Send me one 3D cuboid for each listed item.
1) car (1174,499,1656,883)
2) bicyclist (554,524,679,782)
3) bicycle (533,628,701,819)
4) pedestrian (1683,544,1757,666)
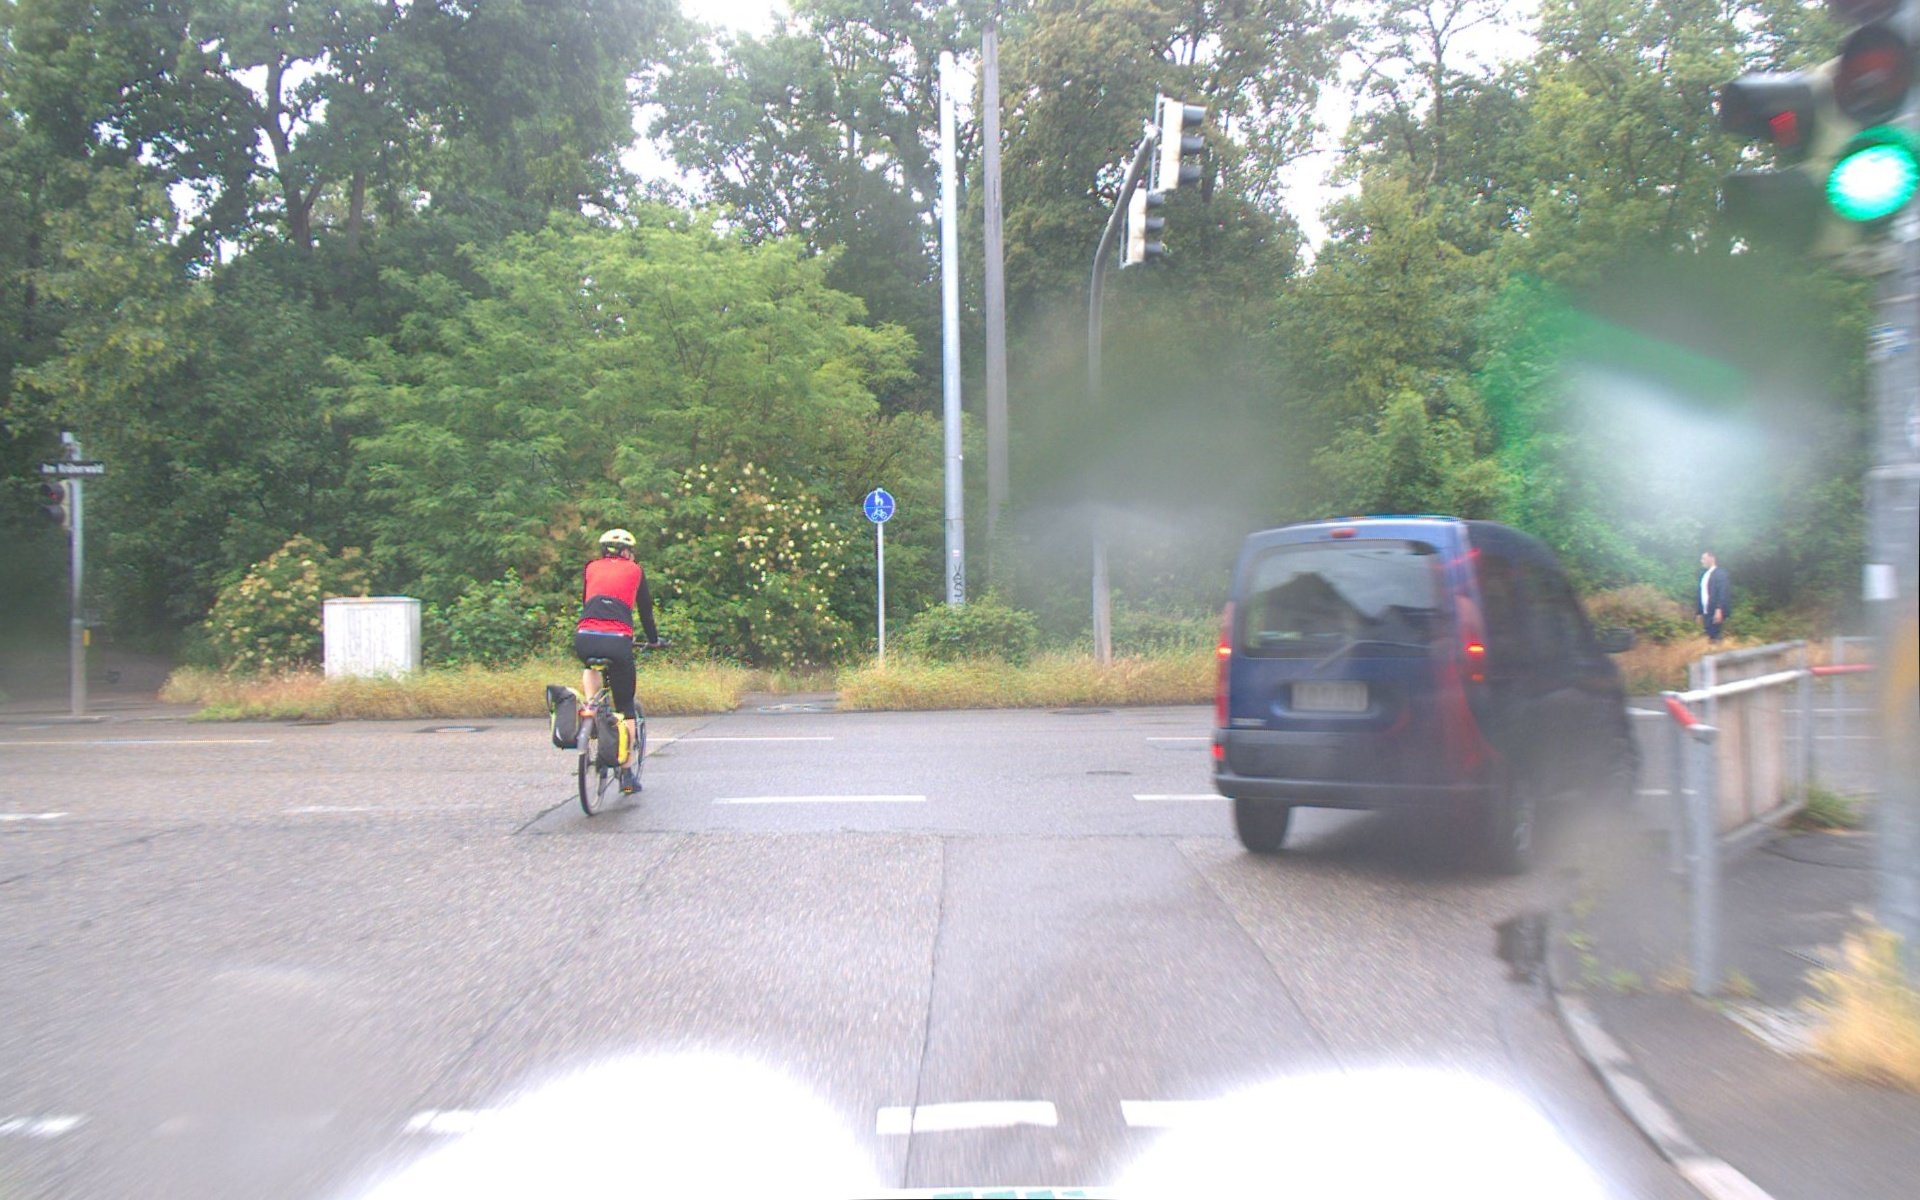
[{"bbox_3d":[2.944,0.431,10.059,1.776,1.829,3.991,-1,0,31],"label":"car"},{"bbox_3d":[-2.323,0.336,11.292,0.566,1.681,1.049,0,1,4],"label":"bicyclist"},{"bbox_3d":[-2.310,0.791,11.405,0.566,1.115,2.156,0,1,4],"label":"bicycle"},{"bbox_3d":[11.539,0.074,25.126,0.745,1.831,0.778,-1,0,0],"label":"pedestrian"}]
